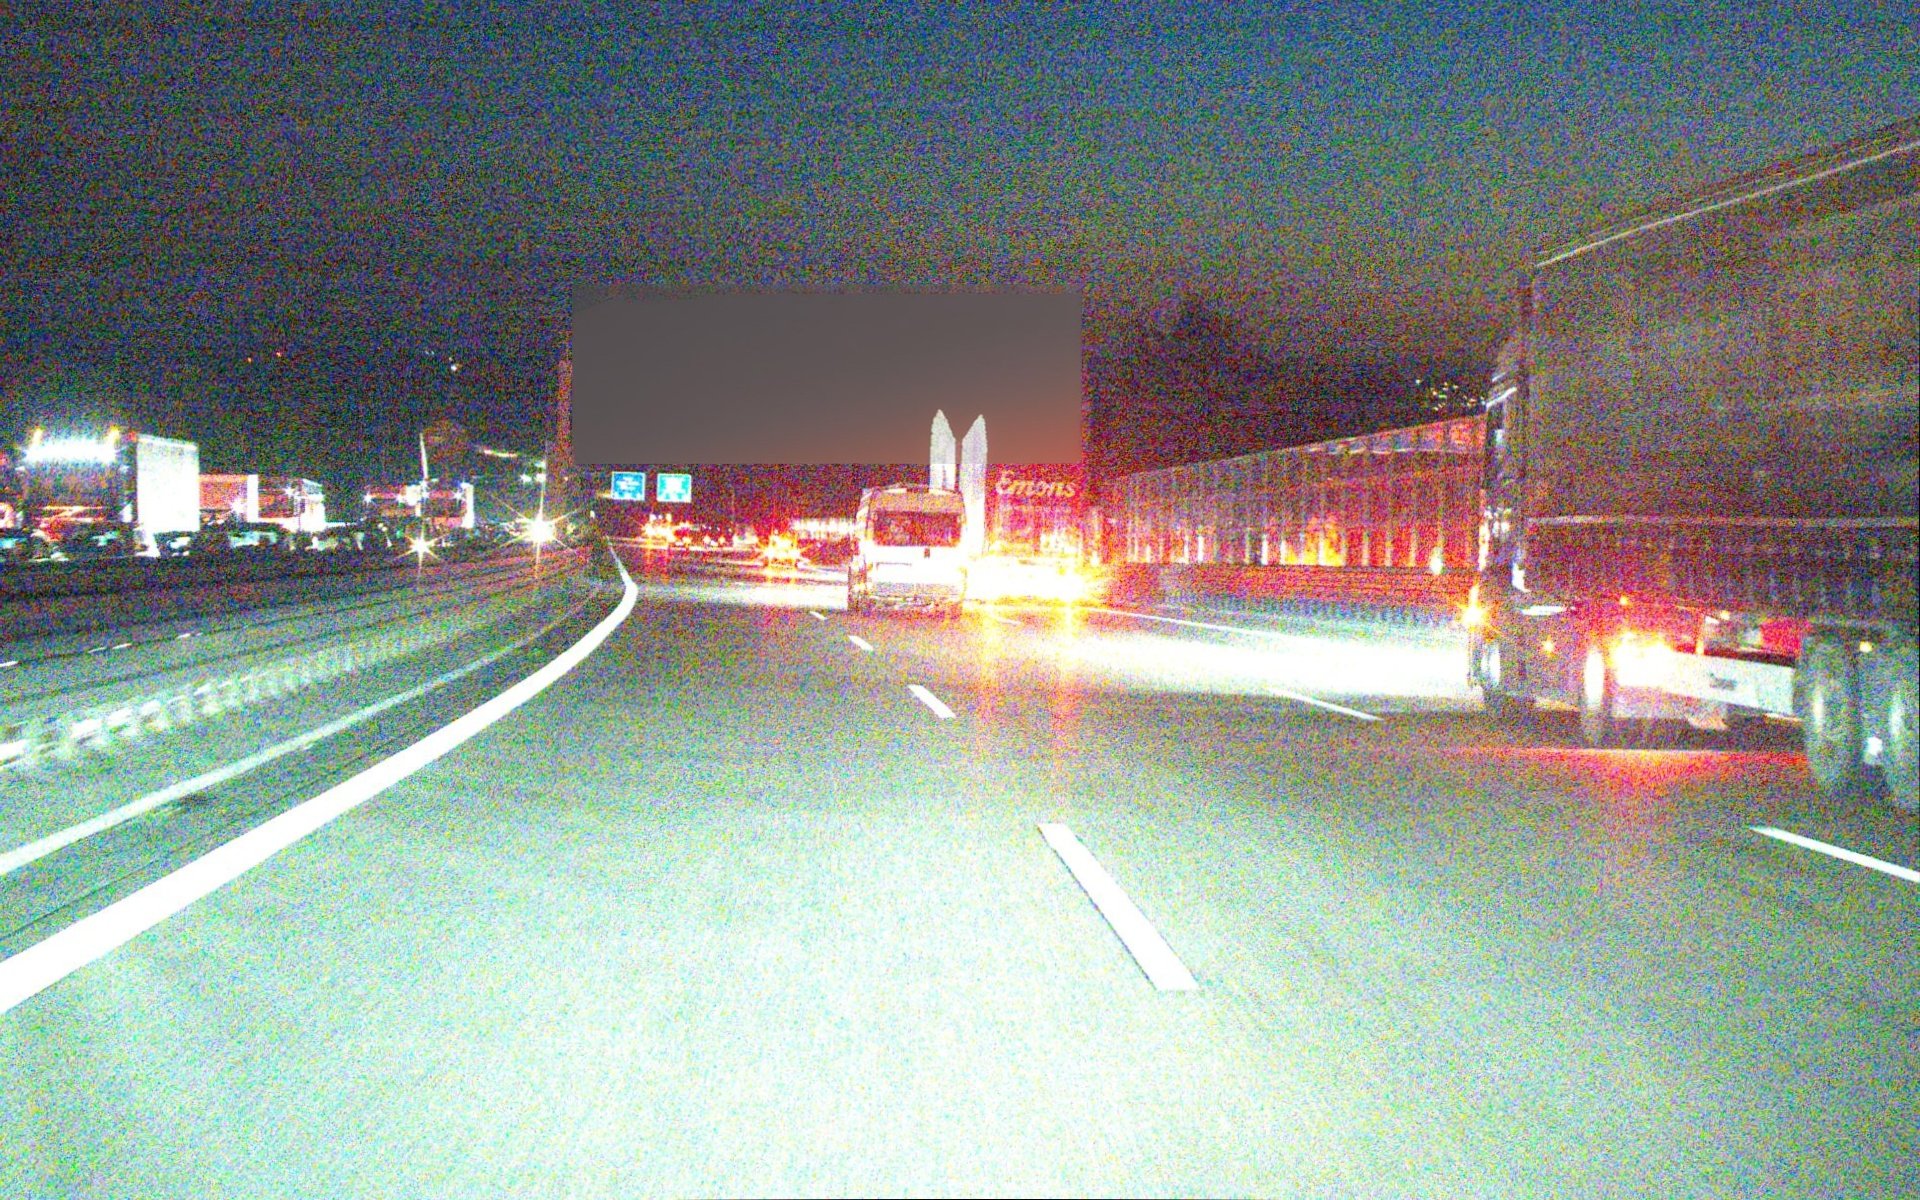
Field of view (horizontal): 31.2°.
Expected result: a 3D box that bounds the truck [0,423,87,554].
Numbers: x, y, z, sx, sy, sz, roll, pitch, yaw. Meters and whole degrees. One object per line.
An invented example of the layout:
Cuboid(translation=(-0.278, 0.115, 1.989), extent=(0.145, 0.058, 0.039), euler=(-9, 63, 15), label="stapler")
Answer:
Cuboid(translation=(-27.720, -3.192, 100.611), extent=(2.393, 3.615, 11.182), euler=(2, 0, -6), label="truck")

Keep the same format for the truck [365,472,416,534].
Cuboid(translation=(-35.542, -6.056, 214.446), extent=(2.873, 3.661, 6.053), euler=(3, 1, -10), label="truck")

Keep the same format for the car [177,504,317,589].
Cuboid(translation=(-12.102, -0.920, 58.555), extent=(1.570, 1.349, 4.000), euler=(2, 1, -1), label="car")

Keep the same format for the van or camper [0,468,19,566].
Cuboid(translation=(-20.497, -1.697, 68.620), extent=(2.186, 2.007, 7.644), euler=(2, 1, -7), label="van or camper")

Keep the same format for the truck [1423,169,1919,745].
Cuboid(translation=(5.958, -1.079, 28.145), extent=(2.861, 4.063, 7.512), euler=(0, 1, -4), label="truck")

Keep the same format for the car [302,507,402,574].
Cuboid(translation=(-14.115, -1.375, 79.975), extent=(1.658, 1.466, 4.000), euler=(2, 1, -1), label="car")

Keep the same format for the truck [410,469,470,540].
Cuboid(translation=(-29.401, -5.359, 194.656), extent=(2.873, 3.661, 6.781), euler=(4, 0, -6), label="truck")

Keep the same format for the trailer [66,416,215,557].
Cuboid(translation=(-22.883, -3.067, 96.526), extent=(2.393, 3.615, 11.182), euler=(2, 0, -5), label="trailer")

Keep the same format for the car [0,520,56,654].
Cuboid(translation=(-10.416, -0.155, 34.668), extent=(1.570, 1.349, 4.000), euler=(2, 1, -1), label="car")

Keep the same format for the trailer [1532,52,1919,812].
Cuboid(translation=(6.393, -0.945, 20.986), extent=(2.853, 4.053, 13.207), euler=(0, 1, -3), label="trailer")

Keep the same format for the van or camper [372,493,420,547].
Cuboid(translation=(-28.717, -4.052, 175.323), extent=(2.083, 2.623, 7.607), euler=(2, 1, -7), label="van or camper")

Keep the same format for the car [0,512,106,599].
Cuboid(translation=(-15.319, -0.748, 56.453), extent=(1.570, 1.349, 4.000), euler=(2, 1, 0), label="car")

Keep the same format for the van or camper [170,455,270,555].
Cuboid(translation=(-25.444, -3.252, 118.432), extent=(2.432, 3.260, 7.395), euler=(2, 1, -6), label="van or camper")

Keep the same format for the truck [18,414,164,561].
Cuboid(translation=(-22.156, -2.835, 87.934), extent=(2.403, 3.502, 6.725), euler=(2, 1, -5), label="truck")

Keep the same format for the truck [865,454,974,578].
Cuboid(translation=(-1.716, -3.304, 135.931), extent=(3.344, 4.460, 13.912), euler=(3, 1, -4), label="truck")

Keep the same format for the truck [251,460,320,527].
Cuboid(translation=(-37.004, -5.826, 188.737), extent=(2.959, 3.430, 6.363), euler=(3, 1, -6), label="truck")

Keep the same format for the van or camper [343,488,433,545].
Cuboid(translation=(-14.522, -2.108, 87.485), extent=(1.820, 1.349, 5.353), euler=(2, 1, -5), label="van or camper")

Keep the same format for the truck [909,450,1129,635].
Cuboid(translation=(1.332, -1.518, 96.564), extent=(3.914, 4.611, 21.021), euler=(0, 0, -5), label="truck")

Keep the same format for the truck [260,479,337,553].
Cuboid(translation=(-28.802, -3.623, 149.945), extent=(2.555, 2.975, 7.454), euler=(2, 0, -6), label="truck")

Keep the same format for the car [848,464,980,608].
Cuboid(translation=(-0.861, -1.210, 68.296), extent=(2.337, 2.631, 5.247), euler=(2, 0, 1), label="car")

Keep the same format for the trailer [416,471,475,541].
Cuboid(translation=(-30.367, -5.510, 203.248), extent=(2.885, 3.659, 12.219), euler=(4, 0, -7), label="trailer")

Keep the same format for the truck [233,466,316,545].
Cuboid(translation=(-28.037, -3.809, 140.832), extent=(2.555, 2.975, 7.454), euler=(2, 0, -6), label="truck")

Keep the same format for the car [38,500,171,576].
Cuboid(translation=(-16.276, -1.174, 65.578), extent=(1.570, 1.349, 4.000), euler=(2, 1, -1), label="car")
